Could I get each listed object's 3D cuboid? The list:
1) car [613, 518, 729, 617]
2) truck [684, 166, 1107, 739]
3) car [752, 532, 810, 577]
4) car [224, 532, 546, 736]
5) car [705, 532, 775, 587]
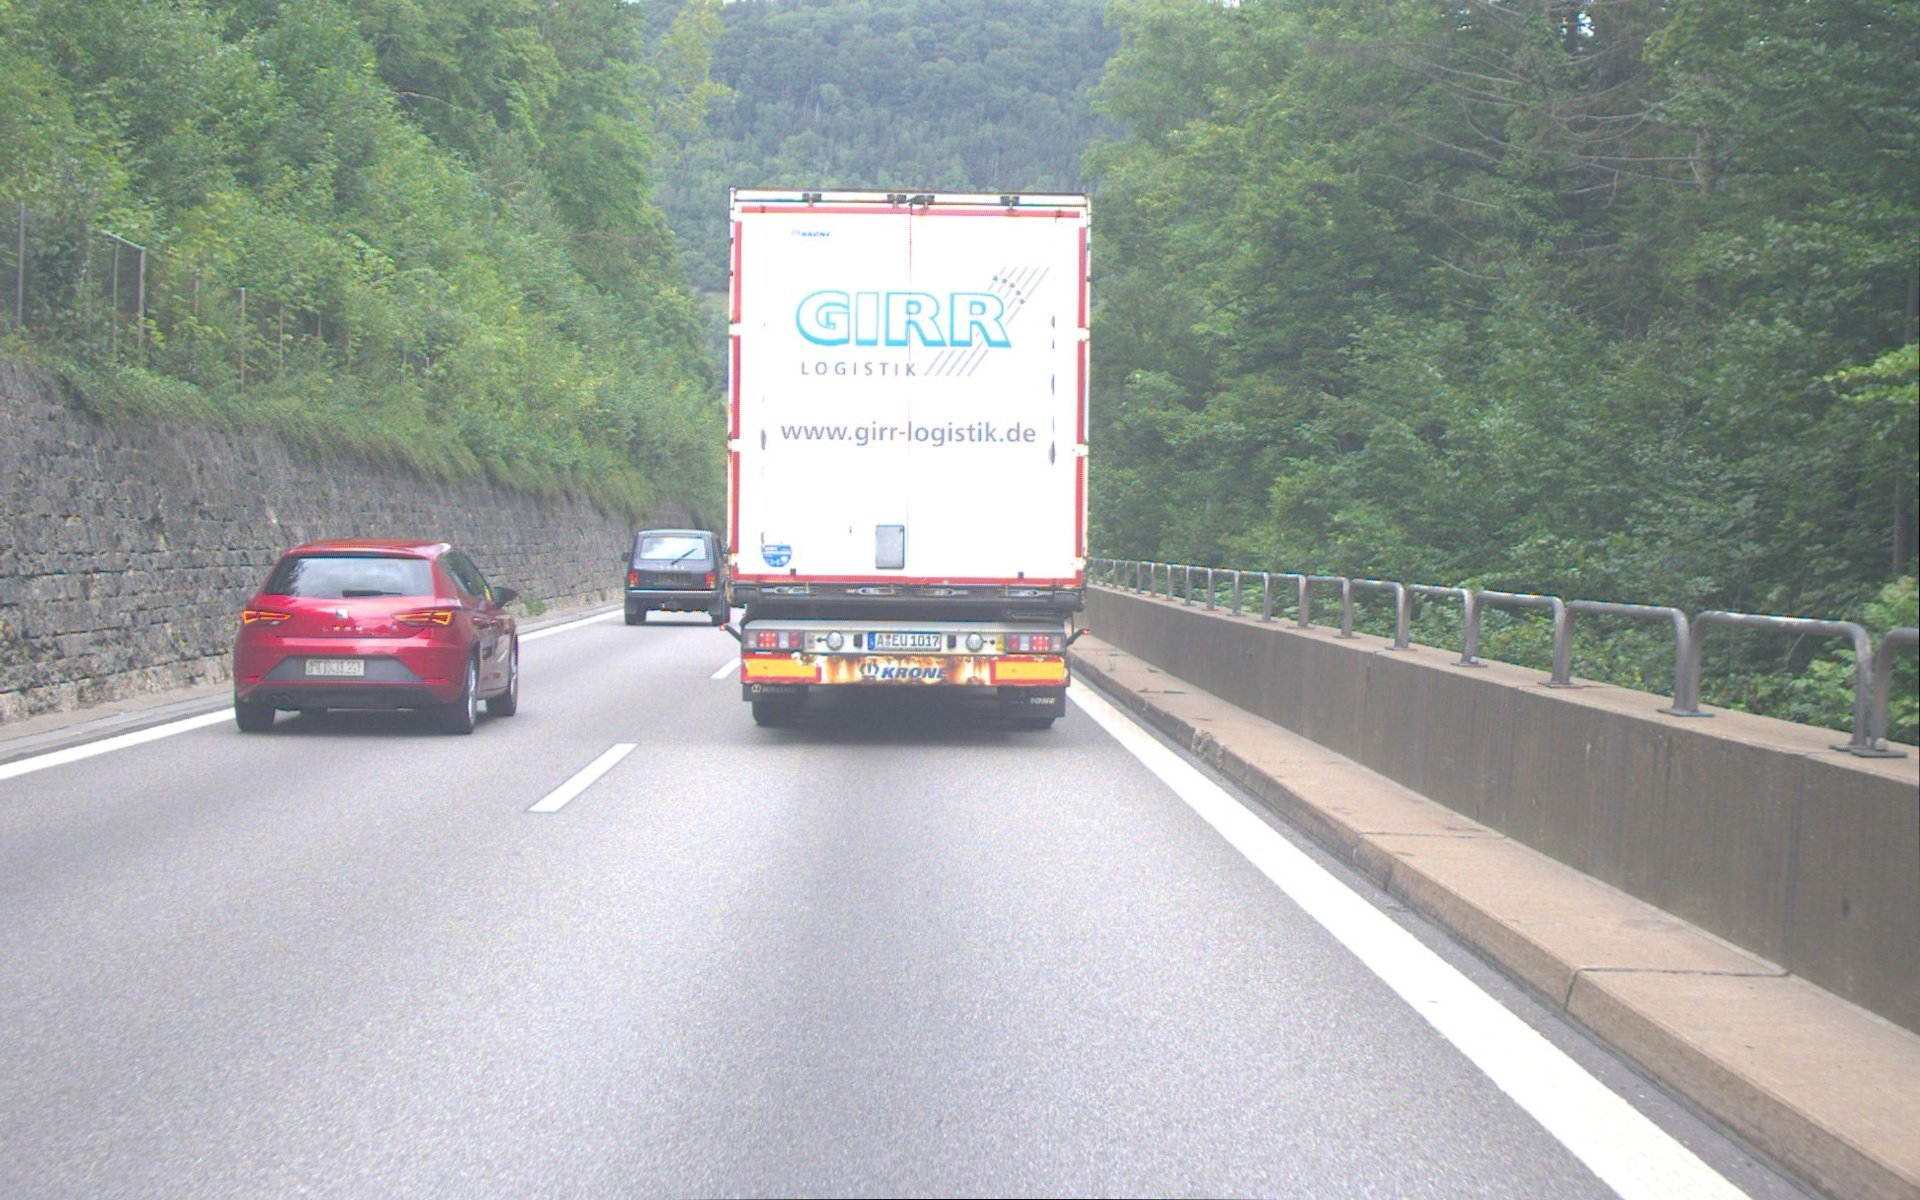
[{"bbox_3d":[-4.892,-0.553,58.696,1.669,1.633,4.068,0,1,0],"label":"car"},{"bbox_3d":[-0.452,-1.081,28.314,2.909,3.947,9.279,0,1,0],"label":"truck"},{"bbox_3d":[-6.413,-1.627,123.369,1.917,1.589,4.179,0,1,-1],"label":"car"},{"bbox_3d":[-4.369,0.220,26.740,1.766,1.455,4.411,0,1,0],"label":"car"},{"bbox_3d":[-5.981,-1.103,93.815,1.729,1.481,4.000,0,1,-1],"label":"car"}]
